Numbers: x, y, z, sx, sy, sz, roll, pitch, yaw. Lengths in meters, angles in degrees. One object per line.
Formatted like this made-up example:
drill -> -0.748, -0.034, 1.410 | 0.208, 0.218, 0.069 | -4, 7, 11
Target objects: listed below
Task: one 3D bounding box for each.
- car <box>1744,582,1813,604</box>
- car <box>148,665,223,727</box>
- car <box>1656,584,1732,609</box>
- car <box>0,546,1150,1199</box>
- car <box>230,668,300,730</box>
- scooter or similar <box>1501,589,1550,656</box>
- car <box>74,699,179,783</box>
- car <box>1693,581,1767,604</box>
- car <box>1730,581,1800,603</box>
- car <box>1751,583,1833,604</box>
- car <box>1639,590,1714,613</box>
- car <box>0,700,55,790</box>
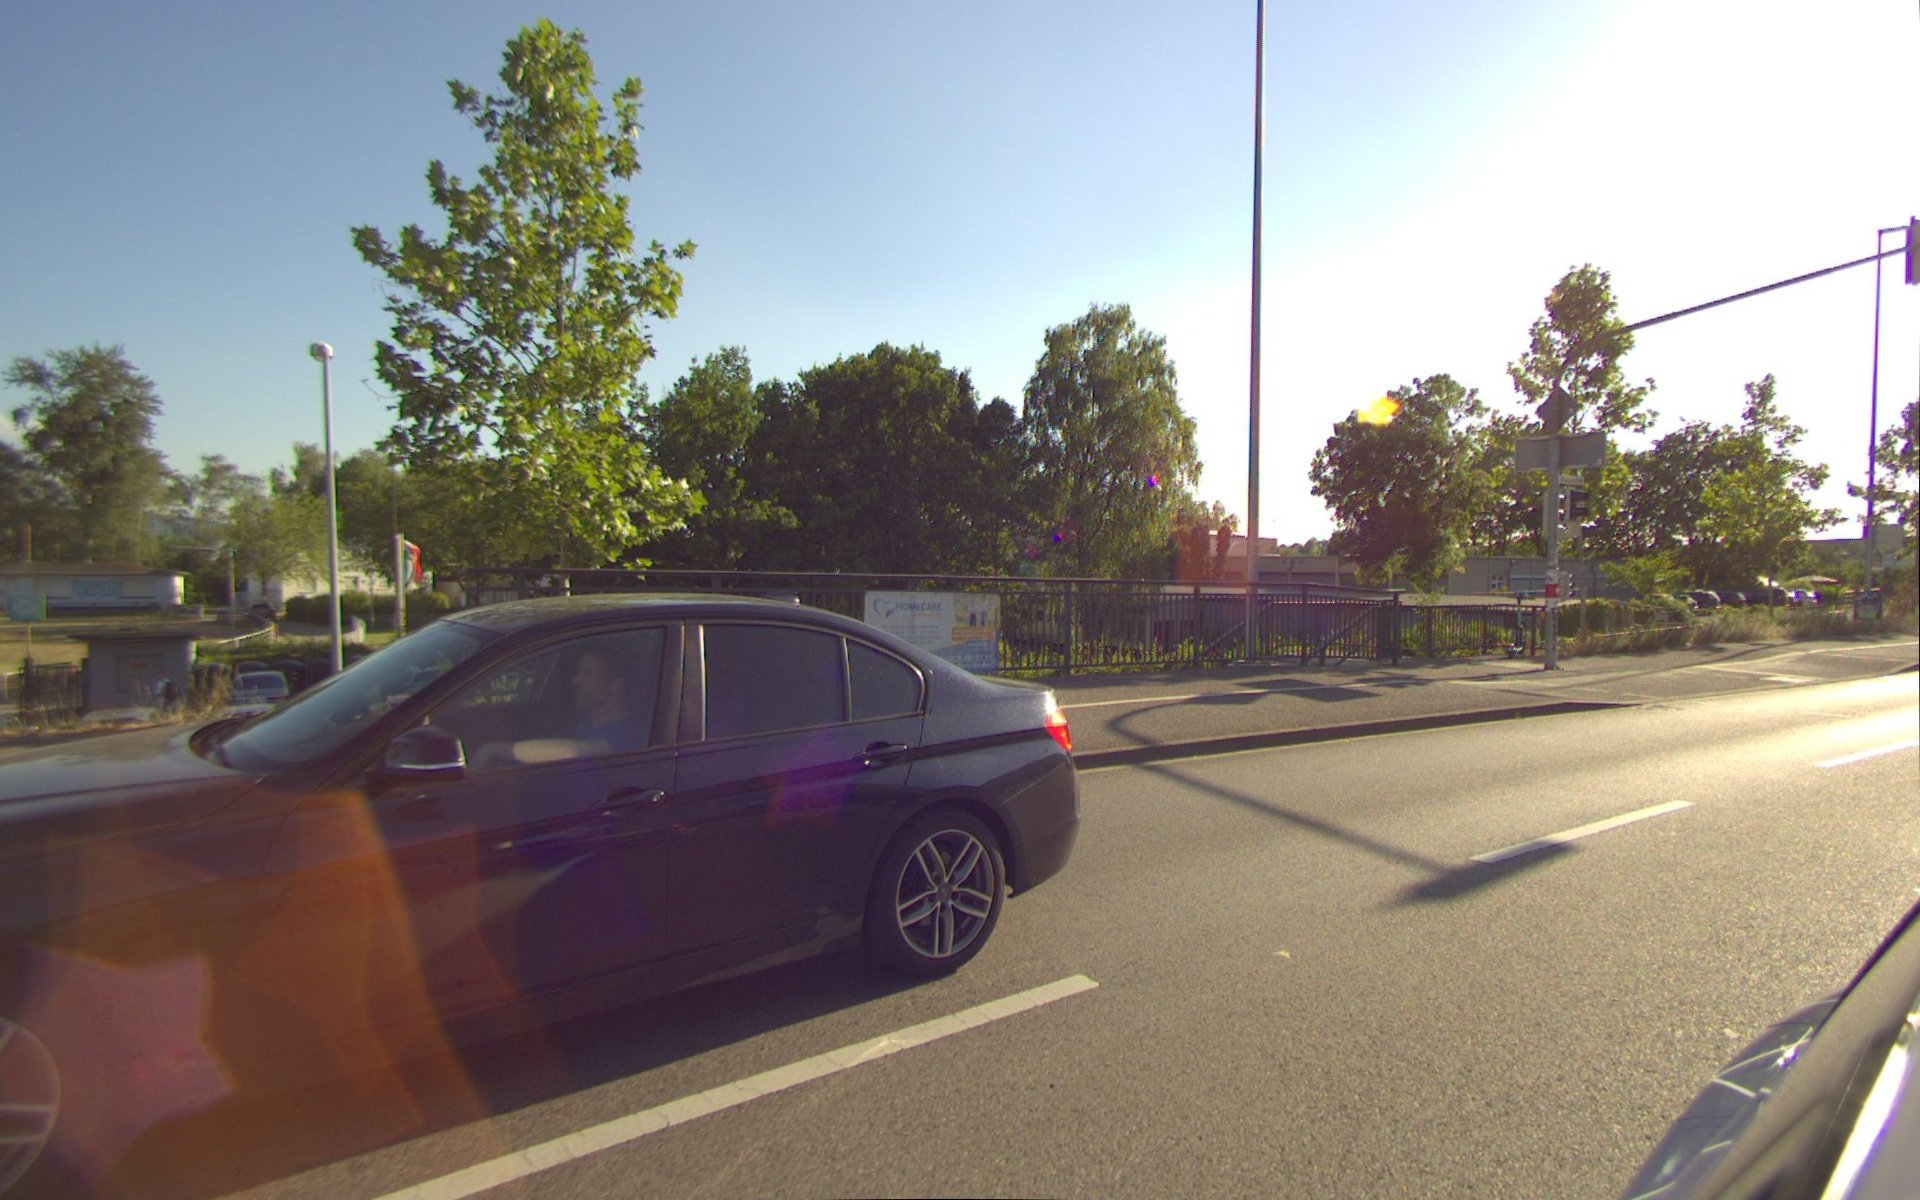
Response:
car -> 63.472, -0.531, 78.495 | 1.689, 1.606, 3.842 | 0, -1, -33
car -> -24.460, 2.989, 32.066 | 1.549, 1.596, 3.519 | 0, 0, -32
car -> 50.699, -0.234, 69.944 | 1.674, 1.687, 3.921 | -2, 0, -35
car -> -1.523, 0.605, 3.791 | 4.501, 1.486, 1.871 | 0, 1, -37
car -> -22.375, 3.144, 32.681 | 1.750, 1.596, 3.923 | 0, 0, -33
scooter or similar -> 11.067, 0.414, 19.803 | 0.524, 1.246, 1.247 | 2, 2, 44
car -> -19.913, 3.301, 24.308 | 1.550, 1.466, 3.706 | 0, 0, -33
car -> 56.974, -0.516, 74.961 | 1.653, 1.606, 4.032 | 0, -1, -35
car -> 61.360, -0.580, 77.186 | 1.632, 1.661, 3.877 | 0, -1, -33
car -> 65.595, -0.507, 79.866 | 1.823, 1.589, 4.663 | 0, -1, -35
car -> 48.362, 0.061, 68.335 | 1.708, 1.413, 3.794 | -4, 3, -36
car -> -21.990, 3.269, 22.992 | 1.550, 1.596, 3.923 | 0, 0, -33
